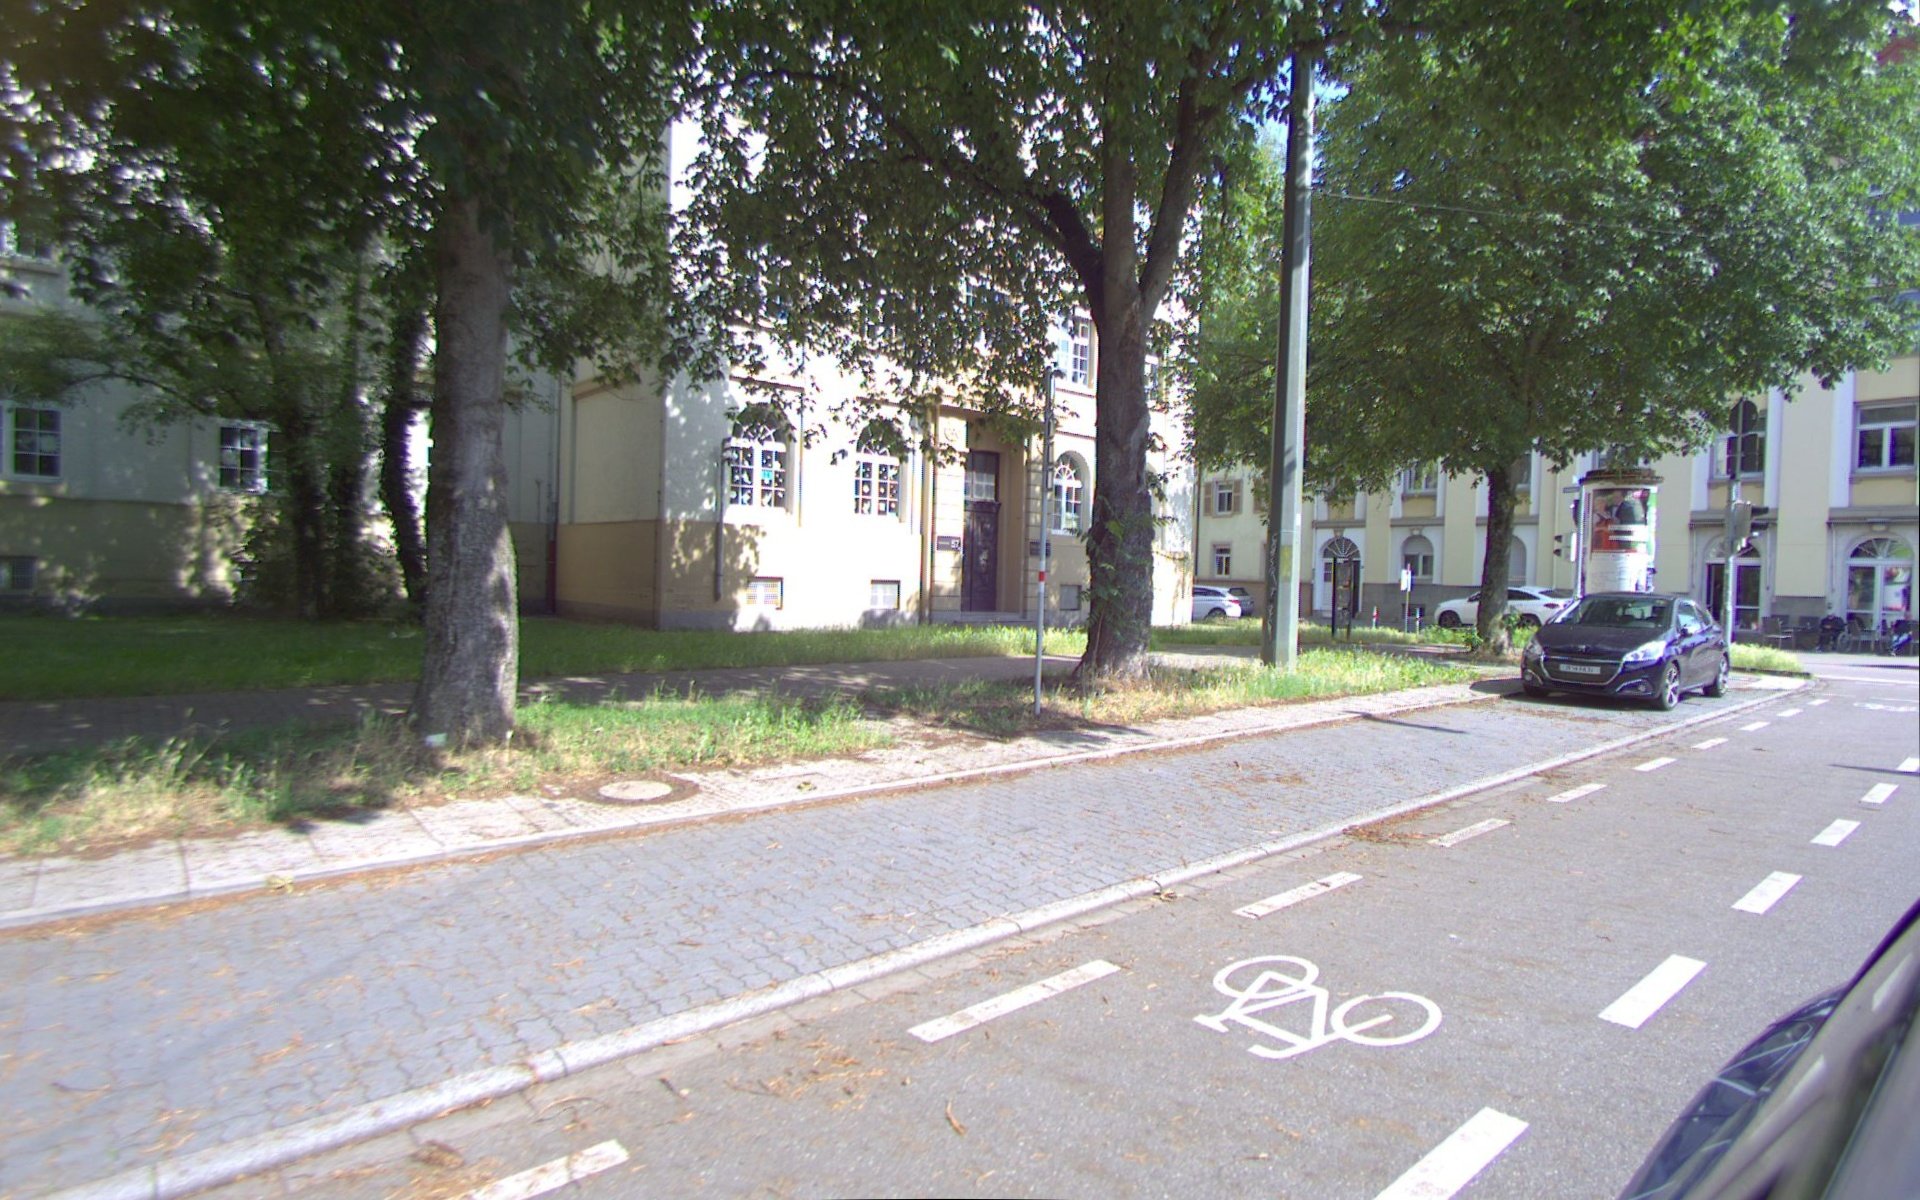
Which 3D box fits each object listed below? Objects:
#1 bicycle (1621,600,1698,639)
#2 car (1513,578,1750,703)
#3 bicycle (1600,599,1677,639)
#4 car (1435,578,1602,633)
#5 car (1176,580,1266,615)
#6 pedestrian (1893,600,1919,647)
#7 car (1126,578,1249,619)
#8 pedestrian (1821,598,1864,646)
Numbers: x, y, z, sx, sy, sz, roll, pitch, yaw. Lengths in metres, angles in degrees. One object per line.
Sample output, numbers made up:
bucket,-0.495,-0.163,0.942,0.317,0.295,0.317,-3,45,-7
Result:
bicycle,21.630,0.597,31.350,0.603,1.058,1.950,0,3,-19
car,9.306,0.447,13.921,3.856,1.404,1.689,-1,4,-41
bicycle,21.625,0.582,32.278,0.606,1.154,1.942,-1,3,-43
car,19.284,0.133,35.173,1.820,1.675,4.841,-1,3,-30
car,12.218,-0.155,47.561,1.820,1.442,4.006,-3,3,-29
pedestrian,27.192,0.665,28.797,0.876,1.260,0.804,-2,3,-38
car,8.502,-0.063,38.018,4.096,1.369,1.860,1,1,-5
pedestrian,25.874,0.633,29.672,0.745,1.304,0.804,-2,3,-38
